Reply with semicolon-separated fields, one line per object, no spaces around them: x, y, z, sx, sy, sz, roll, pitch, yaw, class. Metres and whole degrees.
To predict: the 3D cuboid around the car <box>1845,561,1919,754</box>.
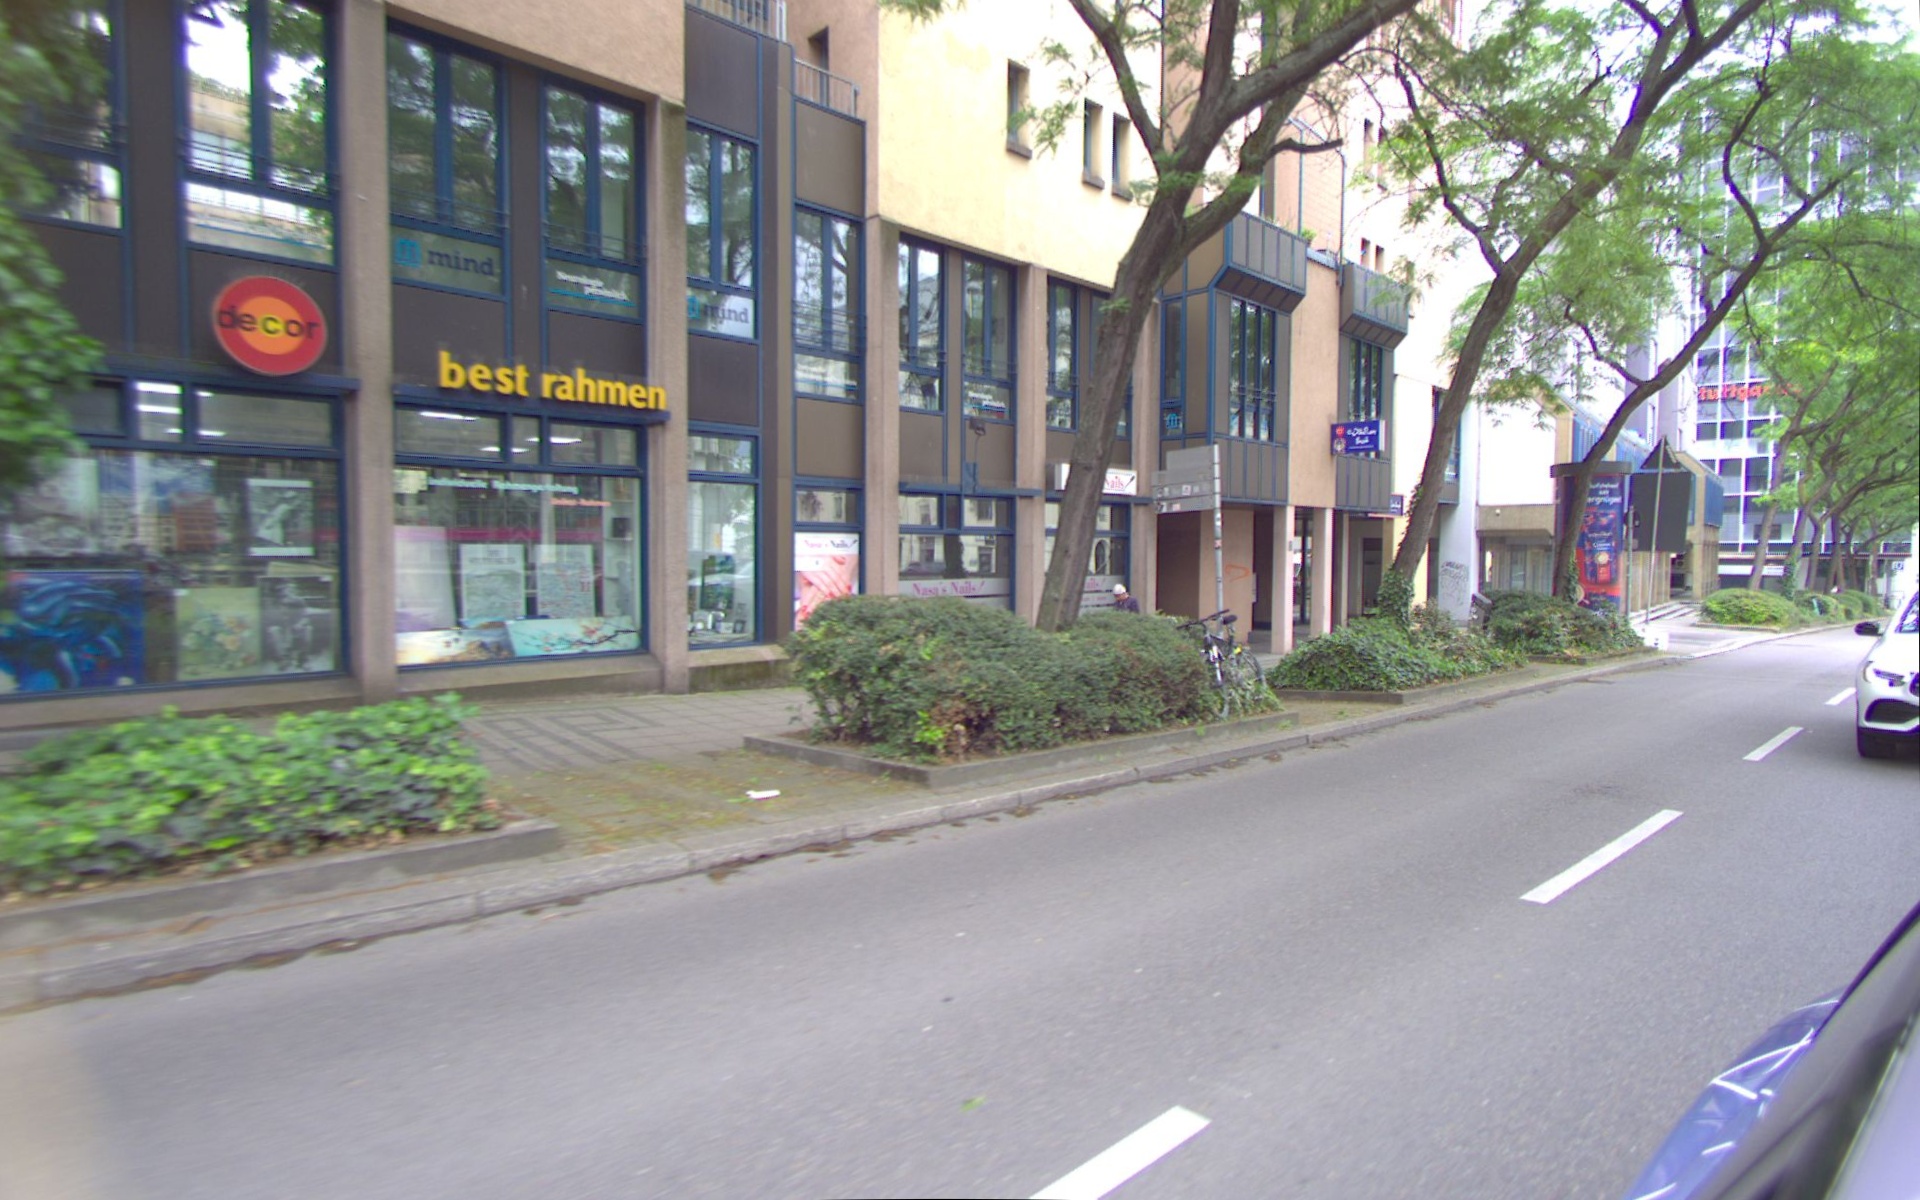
9.866;0.464;9.437;3.861;1.628;2.057;-1;1;-43;car

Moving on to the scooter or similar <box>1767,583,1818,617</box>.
36.615;-0.001;44.518;1.575;1.452;0.728;0;1;17;scooter or similar

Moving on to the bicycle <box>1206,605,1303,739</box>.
3.006;0.684;10.245;0.361;1.216;1.548;2;2;39;bicycle

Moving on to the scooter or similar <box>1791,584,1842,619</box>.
36.390;0.042;43.013;1.513;1.452;0.685;0;1;17;scooter or similar

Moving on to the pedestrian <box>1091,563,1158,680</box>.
2.514;0.315;15.463;0.675;1.732;0.712;1;1;-36;pedestrian
